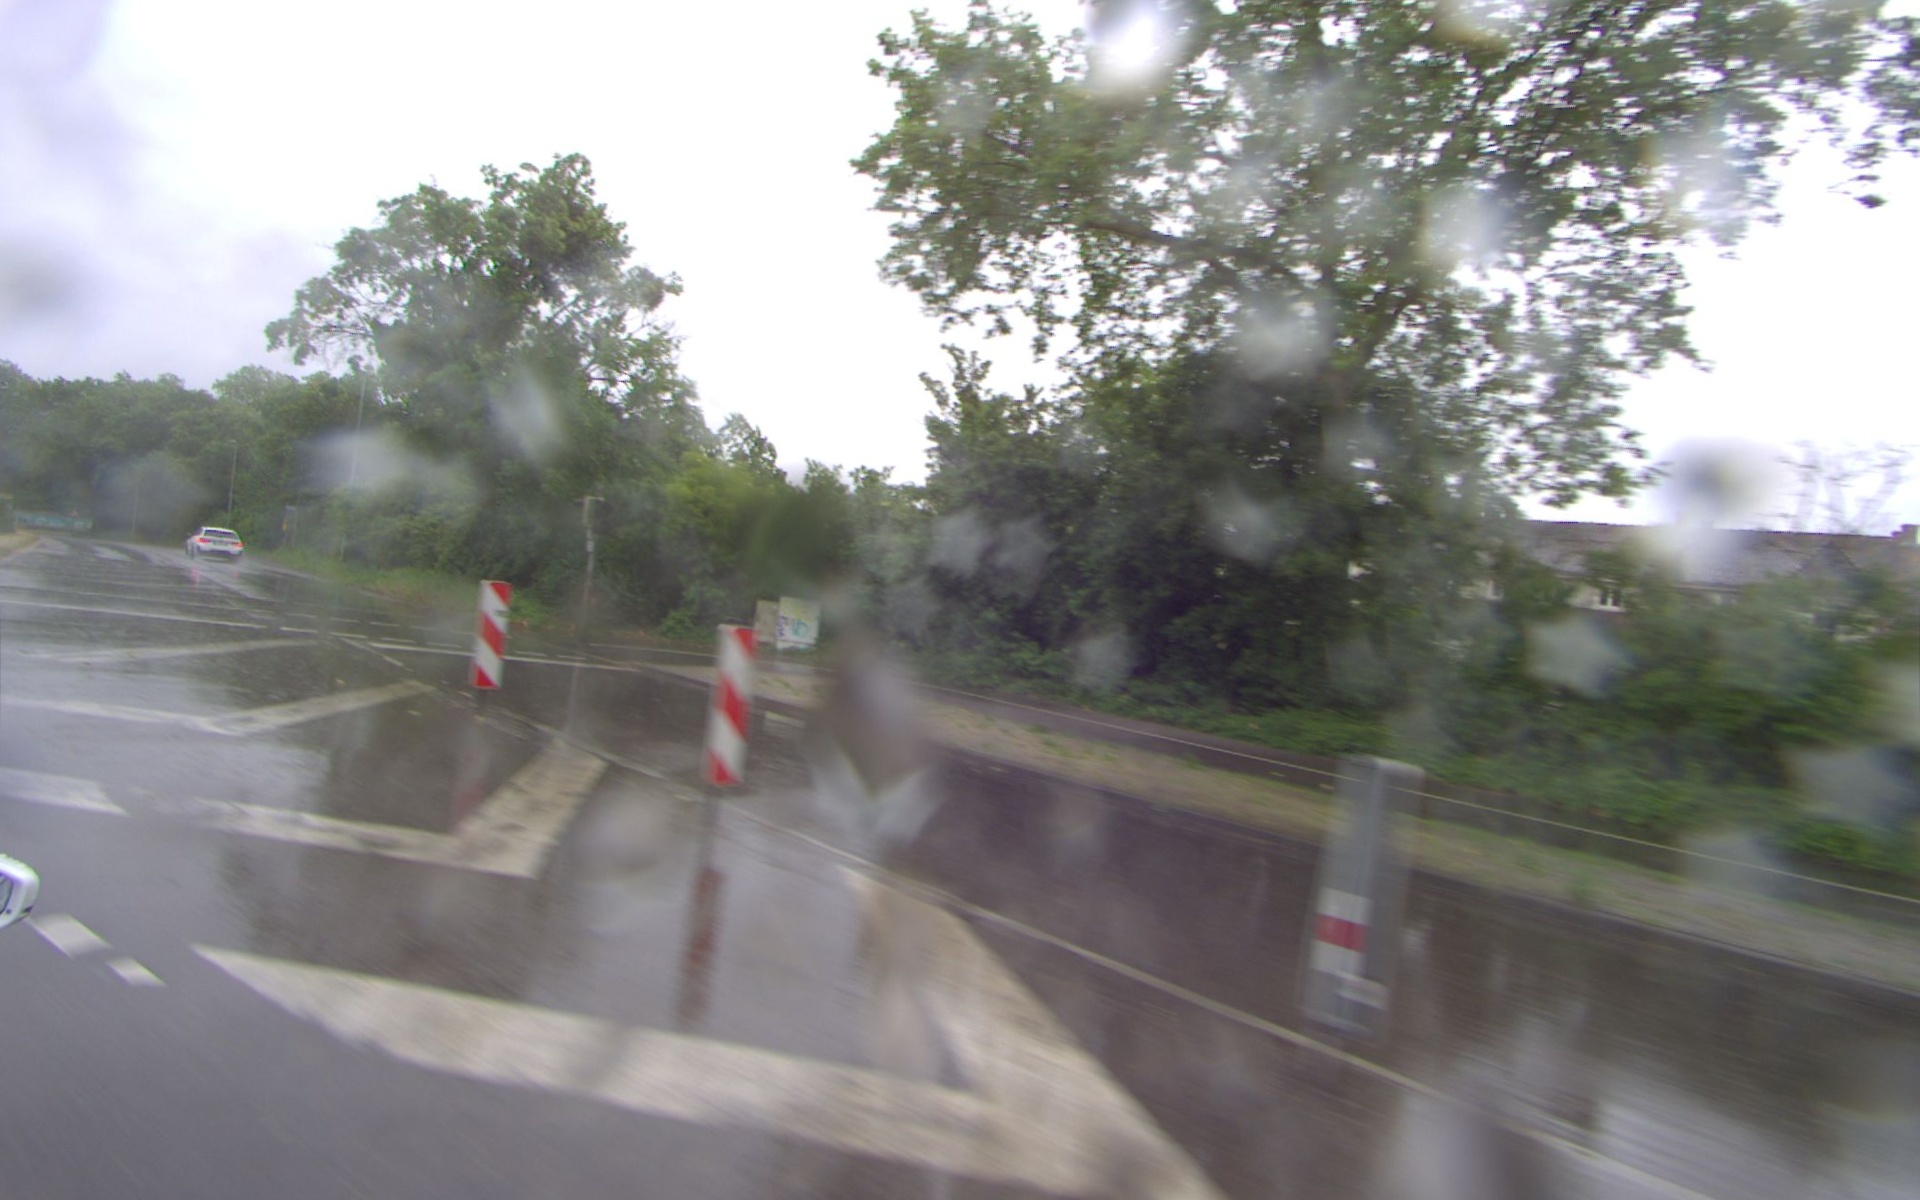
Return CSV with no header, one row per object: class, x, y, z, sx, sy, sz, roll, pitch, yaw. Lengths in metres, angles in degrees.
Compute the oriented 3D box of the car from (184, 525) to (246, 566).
car,-33.293,-2.446,44.912,1.881,1.448,3.955,8,-1,-40
